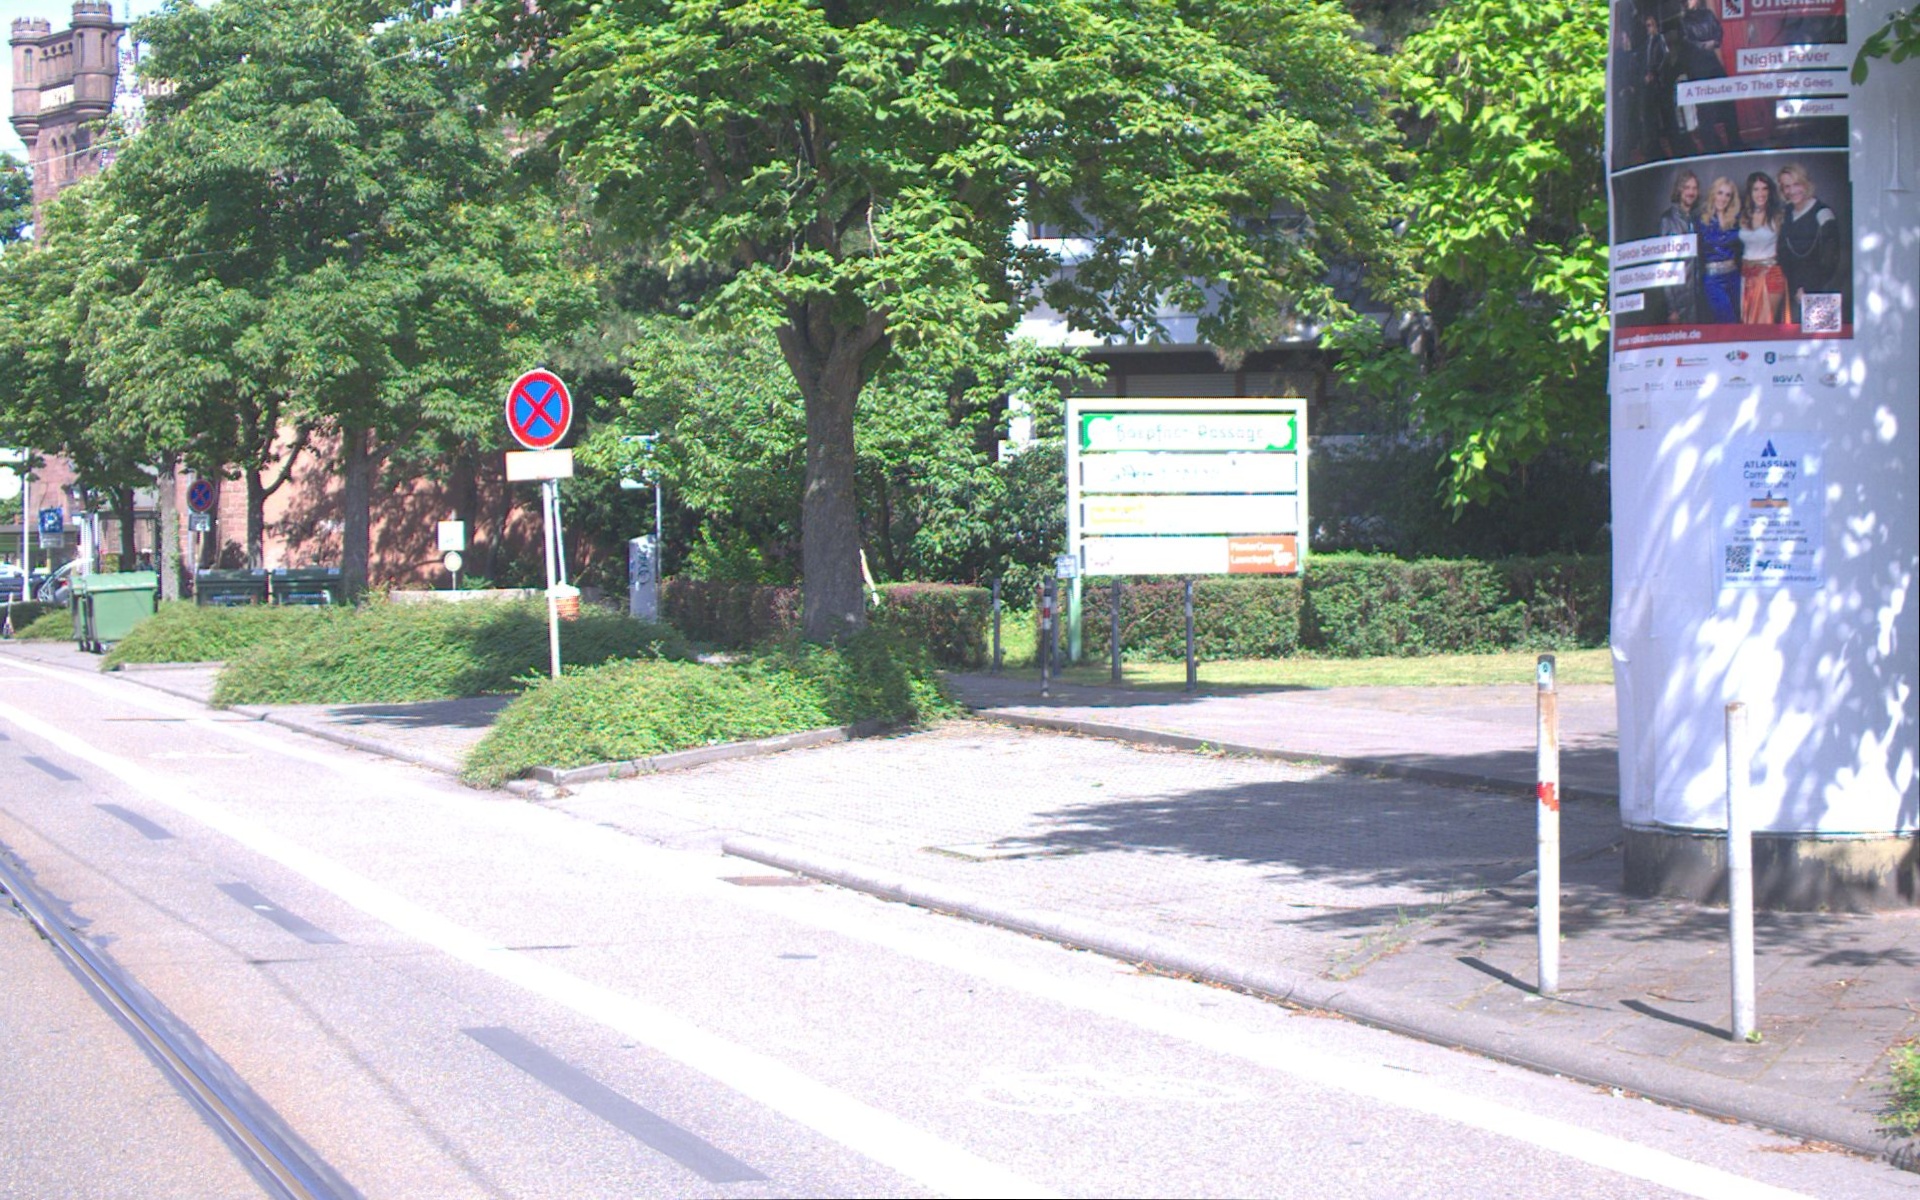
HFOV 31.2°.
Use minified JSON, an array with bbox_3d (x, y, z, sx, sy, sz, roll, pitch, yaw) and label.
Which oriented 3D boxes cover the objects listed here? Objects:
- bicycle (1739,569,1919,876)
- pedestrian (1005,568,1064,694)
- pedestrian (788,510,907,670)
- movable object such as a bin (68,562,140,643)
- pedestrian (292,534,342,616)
[{"bbox_3d":[4.156,0.518,15.116,0.545,1.304,1.621,0,1,-25],"label":"bicycle"},{"bbox_3d":[0.696,0.280,31.916,0.532,1.150,0.701,-1,1,2],"label":"pedestrian"},{"bbox_3d":[-1.301,-0.115,39.449,1.056,1.792,1.265,1,0,-16],"label":"pedestrian"},{"bbox_3d":[-15.518,0.039,62.319,1.261,1.448,1.080,0,1,-14],"label":"movable object such as a bin"},{"bbox_3d":[-14.354,-0.559,76.728,1.056,1.792,1.265,1,0,-11],"label":"pedestrian"}]
